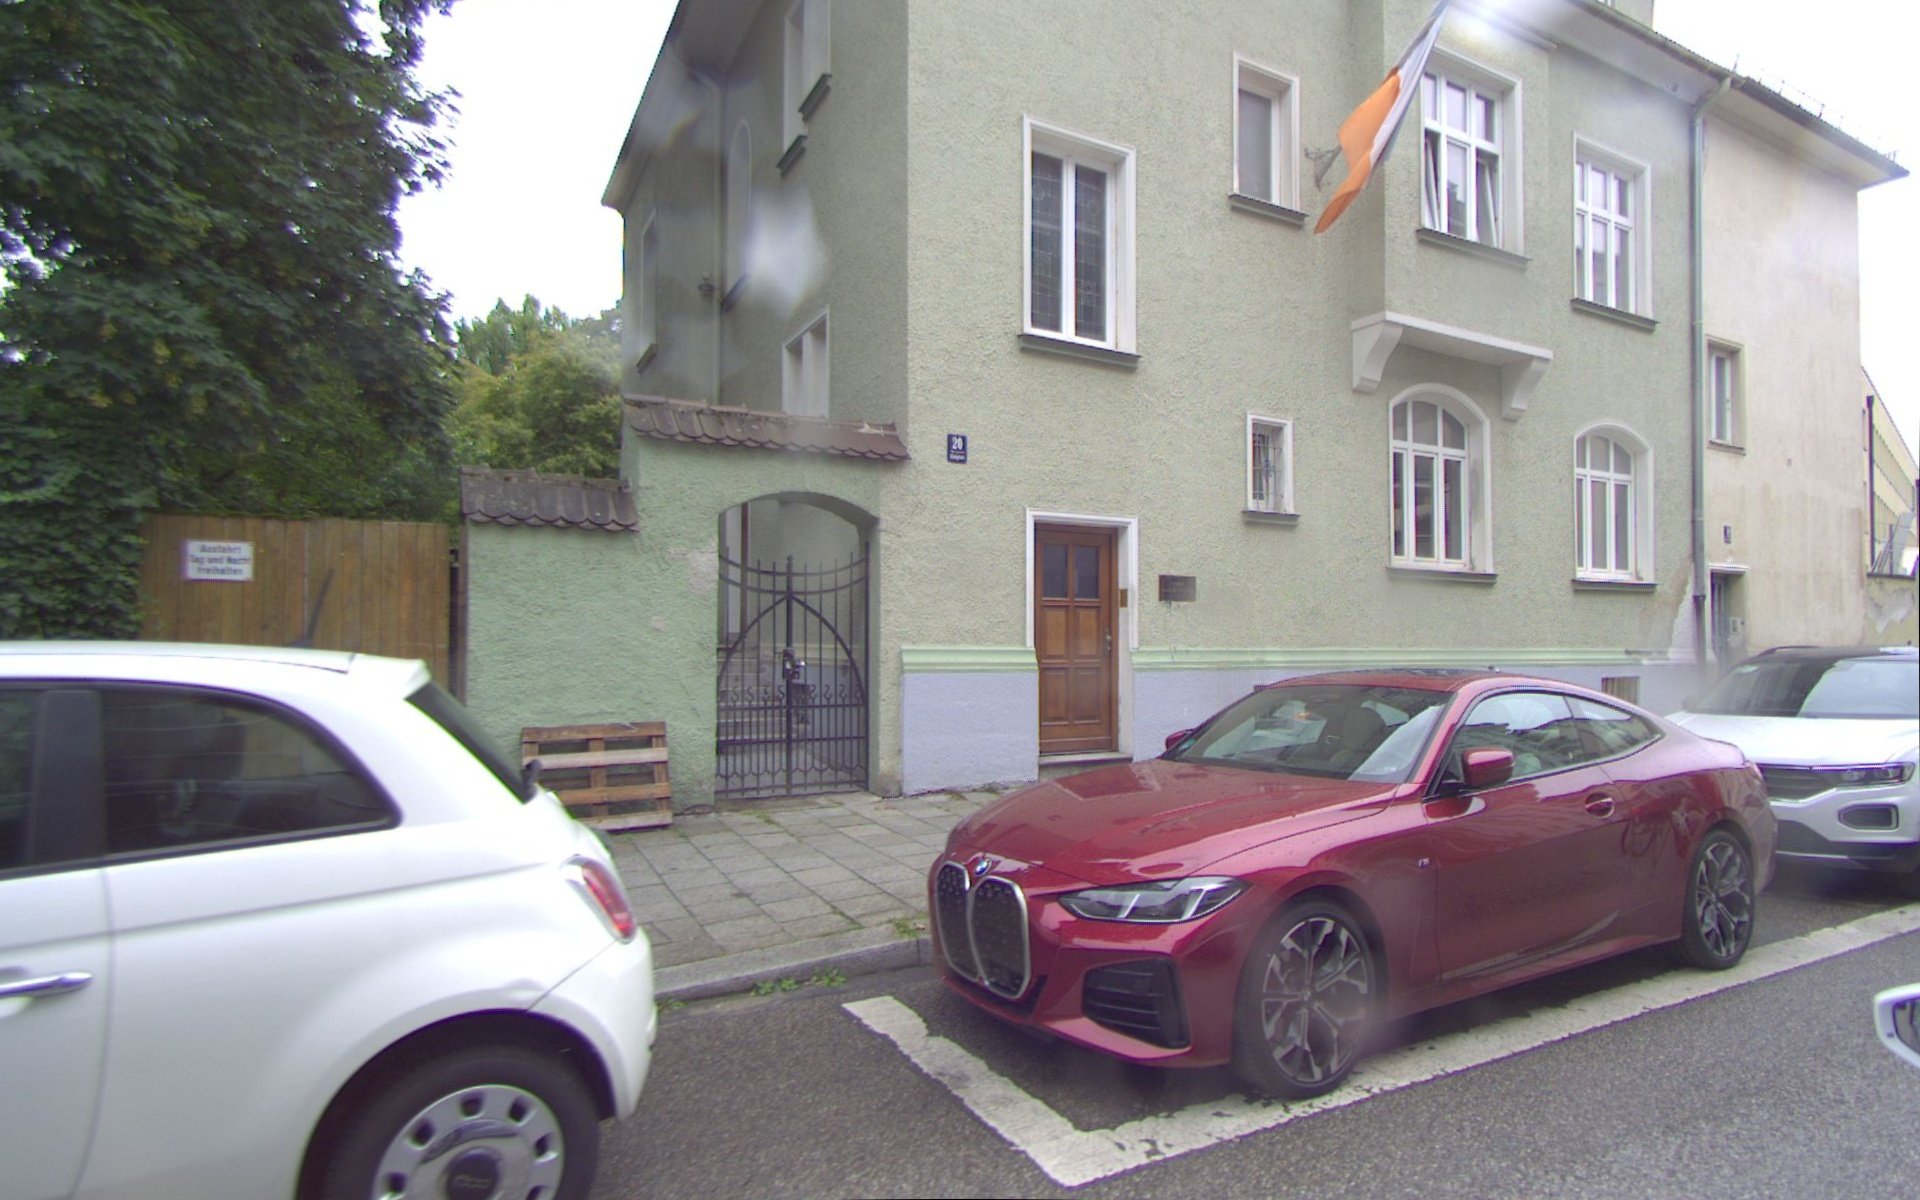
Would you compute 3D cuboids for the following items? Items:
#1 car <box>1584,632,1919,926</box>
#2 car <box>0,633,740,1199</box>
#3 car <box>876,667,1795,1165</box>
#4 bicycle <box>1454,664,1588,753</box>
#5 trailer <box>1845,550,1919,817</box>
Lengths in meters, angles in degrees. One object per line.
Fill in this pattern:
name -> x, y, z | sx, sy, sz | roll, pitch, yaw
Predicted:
car -> 6.505, 1.084, 7.308 | 3.875, 1.623, 1.679 | 1, -4, -30
car -> -2.325, 0.838, 2.331 | 3.275, 1.485, 1.467 | 1, -4, -31
car -> 1.919, 1.047, 4.834 | 4.283, 1.430, 1.852 | 2, -5, -30
bicycle -> 6.688, 1.256, 11.939 | 1.908, 0.919, 0.519 | 1, 1, -33
trailer -> 11.062, 0.789, 10.054 | 4.328, 2.493, 1.704 | 1, -4, -26
